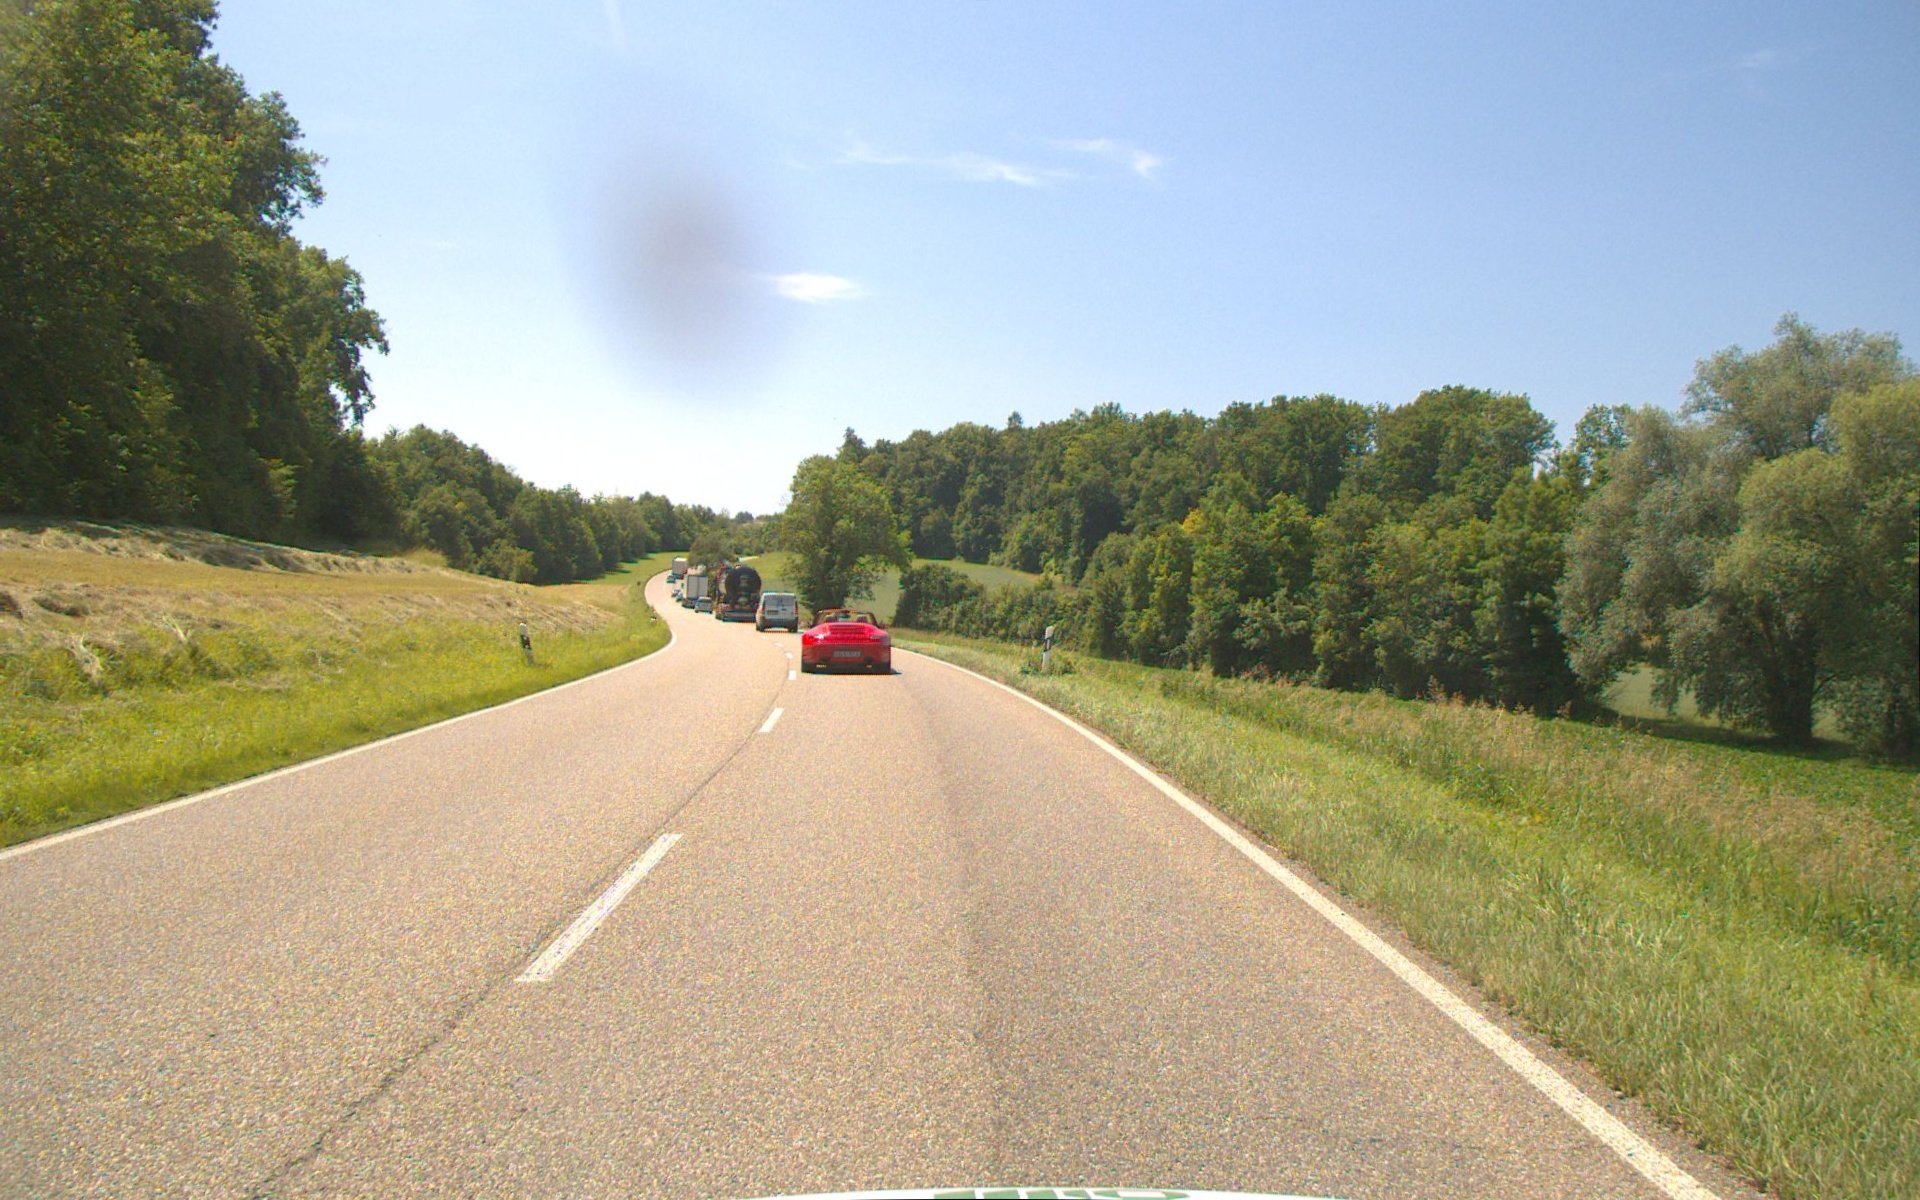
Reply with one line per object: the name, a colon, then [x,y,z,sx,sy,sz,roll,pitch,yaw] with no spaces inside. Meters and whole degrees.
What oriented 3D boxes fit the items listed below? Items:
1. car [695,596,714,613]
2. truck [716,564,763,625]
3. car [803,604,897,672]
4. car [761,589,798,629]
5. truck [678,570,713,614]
car: [-25.439,0.463,164.424,1.692,1.613,4.148,1,0,-11]
truck: [-15.958,-0.452,118.993,2.362,4.120,12.512,1,0,-12]
car: [-2.326,0.763,34.739,1.846,1.277,4.006,1,0,-5]
car: [-8.998,0.425,82.199,1.647,1.934,4.001,1,0,-9]
truck: [-32.575,-1.072,203.656,3.659,4.740,12.000,1,2,-11]
